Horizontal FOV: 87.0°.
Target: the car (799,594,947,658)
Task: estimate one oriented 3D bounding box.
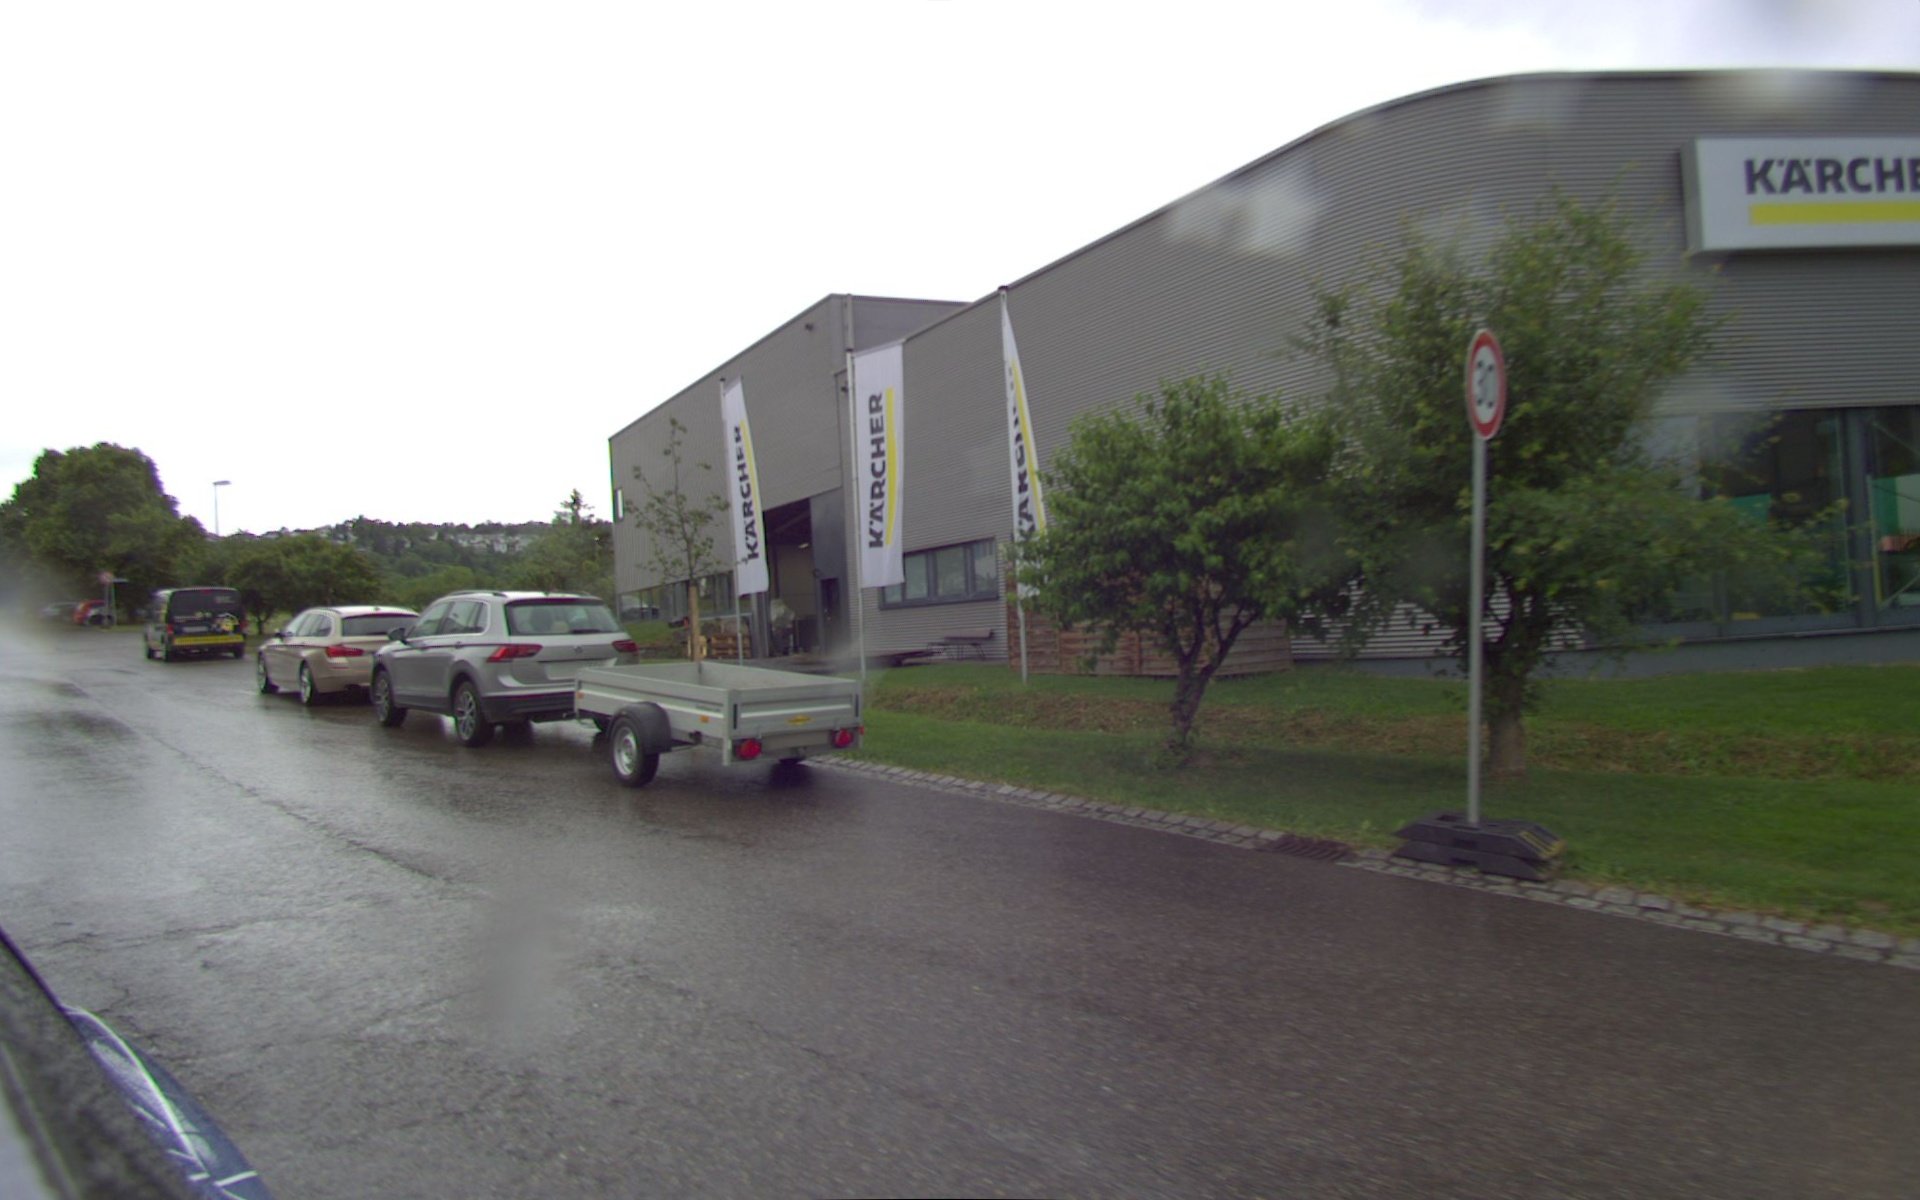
[{"bbox_3d":[-2.724,0.803,31.856,4.154,1.786,1.939,-2,-2,-34],"label":"car"}]

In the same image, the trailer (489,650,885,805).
[{"bbox_3d":[-2.616,1.010,9.182,3.897,0.895,1.662,0,1,43],"label":"trailer"}]

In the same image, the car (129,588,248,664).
[{"bbox_3d":[-20.686,0.638,27.057,1.894,1.845,4.850,-2,1,-45],"label":"car"}]

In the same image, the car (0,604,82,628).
[{"bbox_3d":[-68.898,1.178,75.919,2.041,1.734,4.327,0,1,37],"label":"car"}]

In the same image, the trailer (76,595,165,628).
[{"bbox_3d":[-54.138,0.717,65.303,1.773,1.999,4.168,0,1,41],"label":"trailer"}]

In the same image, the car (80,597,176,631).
[{"bbox_3d":[-48.746,0.779,59.324,4.249,1.920,1.864,-1,1,-44],"label":"car"}]

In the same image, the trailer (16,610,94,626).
[{"bbox_3d":[-64.900,1.285,72.639,1.998,0.968,3.903,-1,1,39],"label":"trailer"}]

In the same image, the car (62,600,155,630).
[{"bbox_3d":[-52.654,0.896,62.648,1.753,1.734,4.156,0,1,38],"label":"car"}]

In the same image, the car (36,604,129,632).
[{"bbox_3d":[-60.235,1.187,69.520,1.805,1.601,4.570,0,3,41],"label":"car"}]

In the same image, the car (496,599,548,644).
[{"bbox_3d":[-20.688,1.067,47.916,2.099,1.936,5.628,-2,-2,-23],"label":"car"}]

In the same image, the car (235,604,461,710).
[{"bbox_3d":[-10.261,0.826,16.760,5.249,1.472,1.934,-1,0,44],"label":"car"}]

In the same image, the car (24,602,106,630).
[{"bbox_3d":[-62.785,1.087,71.034,2.025,1.734,4.031,0,3,42],"label":"car"}]

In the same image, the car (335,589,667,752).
[{"bbox_3d":[-5.721,0.689,12.279,4.840,1.588,1.936,0,0,43],"label":"car"}]
